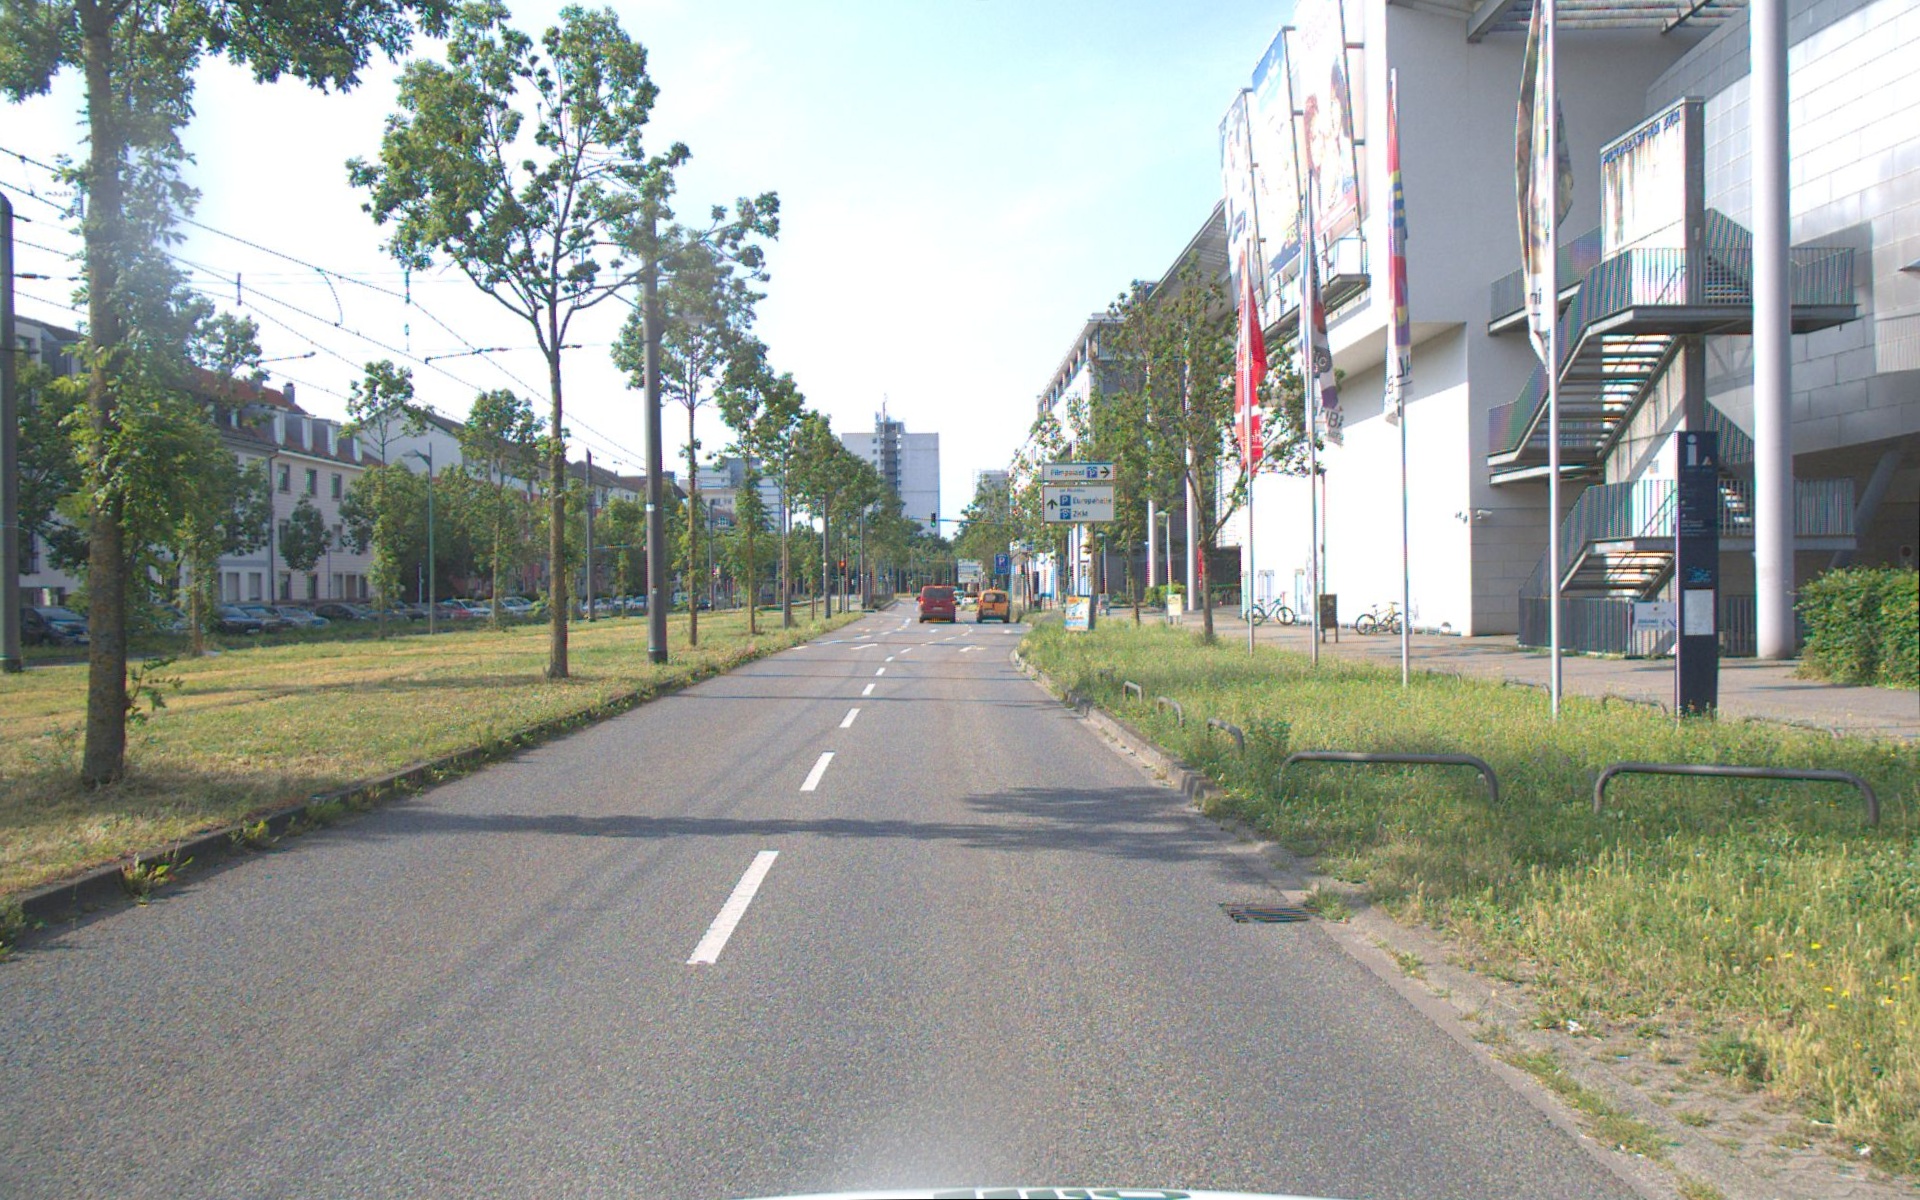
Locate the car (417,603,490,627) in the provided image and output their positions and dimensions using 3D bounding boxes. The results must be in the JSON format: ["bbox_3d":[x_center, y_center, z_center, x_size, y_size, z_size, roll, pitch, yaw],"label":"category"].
[{"bbox_3d":[-28.631,0.833,93.453,3.914,1.280,1.871,1,0,32],"label":"car"}]

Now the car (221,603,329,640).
[{"bbox_3d":[-27.714,0.878,66.890,3.908,1.400,1.925,1,0,26],"label":"car"}]

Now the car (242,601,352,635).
[{"bbox_3d":[-28.460,0.764,70.967,4.240,1.400,1.999,1,0,25],"label":"car"}]

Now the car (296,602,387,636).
[{"bbox_3d":[-27.454,0.831,73.373,3.693,1.400,1.663,1,0,25],"label":"car"}]

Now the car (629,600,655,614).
[{"bbox_3d":[-32.444,0.704,168.661,1.941,1.384,4.067,1,0,-2],"label":"car"}]

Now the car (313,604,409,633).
[{"bbox_3d":[-27.887,0.856,76.972,3.907,1.310,1.999,-1,1,24],"label":"car"}]

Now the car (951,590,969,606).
[{"bbox_3d":[0.006,-0.216,168.869,1.655,1.552,3.850,-3,0,-1],"label":"car"}]

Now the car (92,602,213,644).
[{"bbox_3d":[-28.000,0.772,57.345,4.305,1.343,1.730,1,0,32],"label":"car"}]

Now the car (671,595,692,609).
[{"bbox_3d":[-32.786,0.254,194.833,1.941,1.540,4.279,1,0,-2],"label":"car"}]

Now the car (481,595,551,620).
[{"bbox_3d":[-28.448,0.491,105.918,4.374,1.541,1.993,0,1,35],"label":"car"}]

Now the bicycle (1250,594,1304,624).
[{"bbox_3d":[12.216,0.358,63.716,1.966,1.122,0.676,-1,0,3],"label":"bicycle"}]

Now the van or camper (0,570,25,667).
[{"bbox_3d":[-28.288,0.508,45.246,6.037,2.591,2.406,0,0,35],"label":"van or camper"}]

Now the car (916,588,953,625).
[{"bbox_3d":[-1.336,0.333,85.464,1.837,1.886,3.998,0,0,-3],"label":"car"}]

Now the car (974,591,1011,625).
[{"bbox_3d":[1.704,0.420,88.536,1.837,1.726,3.973,0,0,-1],"label":"car"}]

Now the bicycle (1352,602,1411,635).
[{"bbox_3d":[12.560,0.548,49.293,1.623,0.931,0.482,-1,0,-1],"label":"bicycle"}]

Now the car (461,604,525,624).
[{"bbox_3d":[-29.258,0.861,103.598,3.925,1.199,1.990,1,0,40],"label":"car"}]

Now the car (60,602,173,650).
[{"bbox_3d":[-27.531,0.834,53.957,3.642,1.459,1.638,1,0,32],"label":"car"}]

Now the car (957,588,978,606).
[{"bbox_3d":[0.651,-0.274,142.665,1.686,1.545,3.779,-1,1,-2],"label":"car"}]

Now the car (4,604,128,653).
[{"bbox_3d":[-27.939,0.868,51.667,3.917,1.445,1.776,1,0,34],"label":"car"}]

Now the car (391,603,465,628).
[{"bbox_3d":[-28.973,0.832,90.007,3.915,1.256,1.695,1,0,32],"label":"car"}]

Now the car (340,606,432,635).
[{"bbox_3d":[-27.992,0.986,80.643,3.907,1.311,1.999,1,0,25],"label":"car"}]

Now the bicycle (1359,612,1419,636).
[{"bbox_3d":[12.593,0.697,48.544,1.623,0.656,0.538,-1,0,-1],"label":"bicycle"}]

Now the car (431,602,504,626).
[{"bbox_3d":[-28.736,0.806,96.438,3.911,1.292,1.884,1,0,29],"label":"car"}]

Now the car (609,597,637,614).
[{"bbox_3d":[-32.417,0.574,159.117,1.941,1.583,4.535,1,0,-2],"label":"car"}]

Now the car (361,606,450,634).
[{"bbox_3d":[-28.001,0.990,83.519,3.967,1.311,1.998,1,0,26],"label":"car"}]

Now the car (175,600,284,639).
[{"bbox_3d":[-28.580,0.753,64.707,3.908,1.400,1.834,1,0,26],"label":"car"}]
